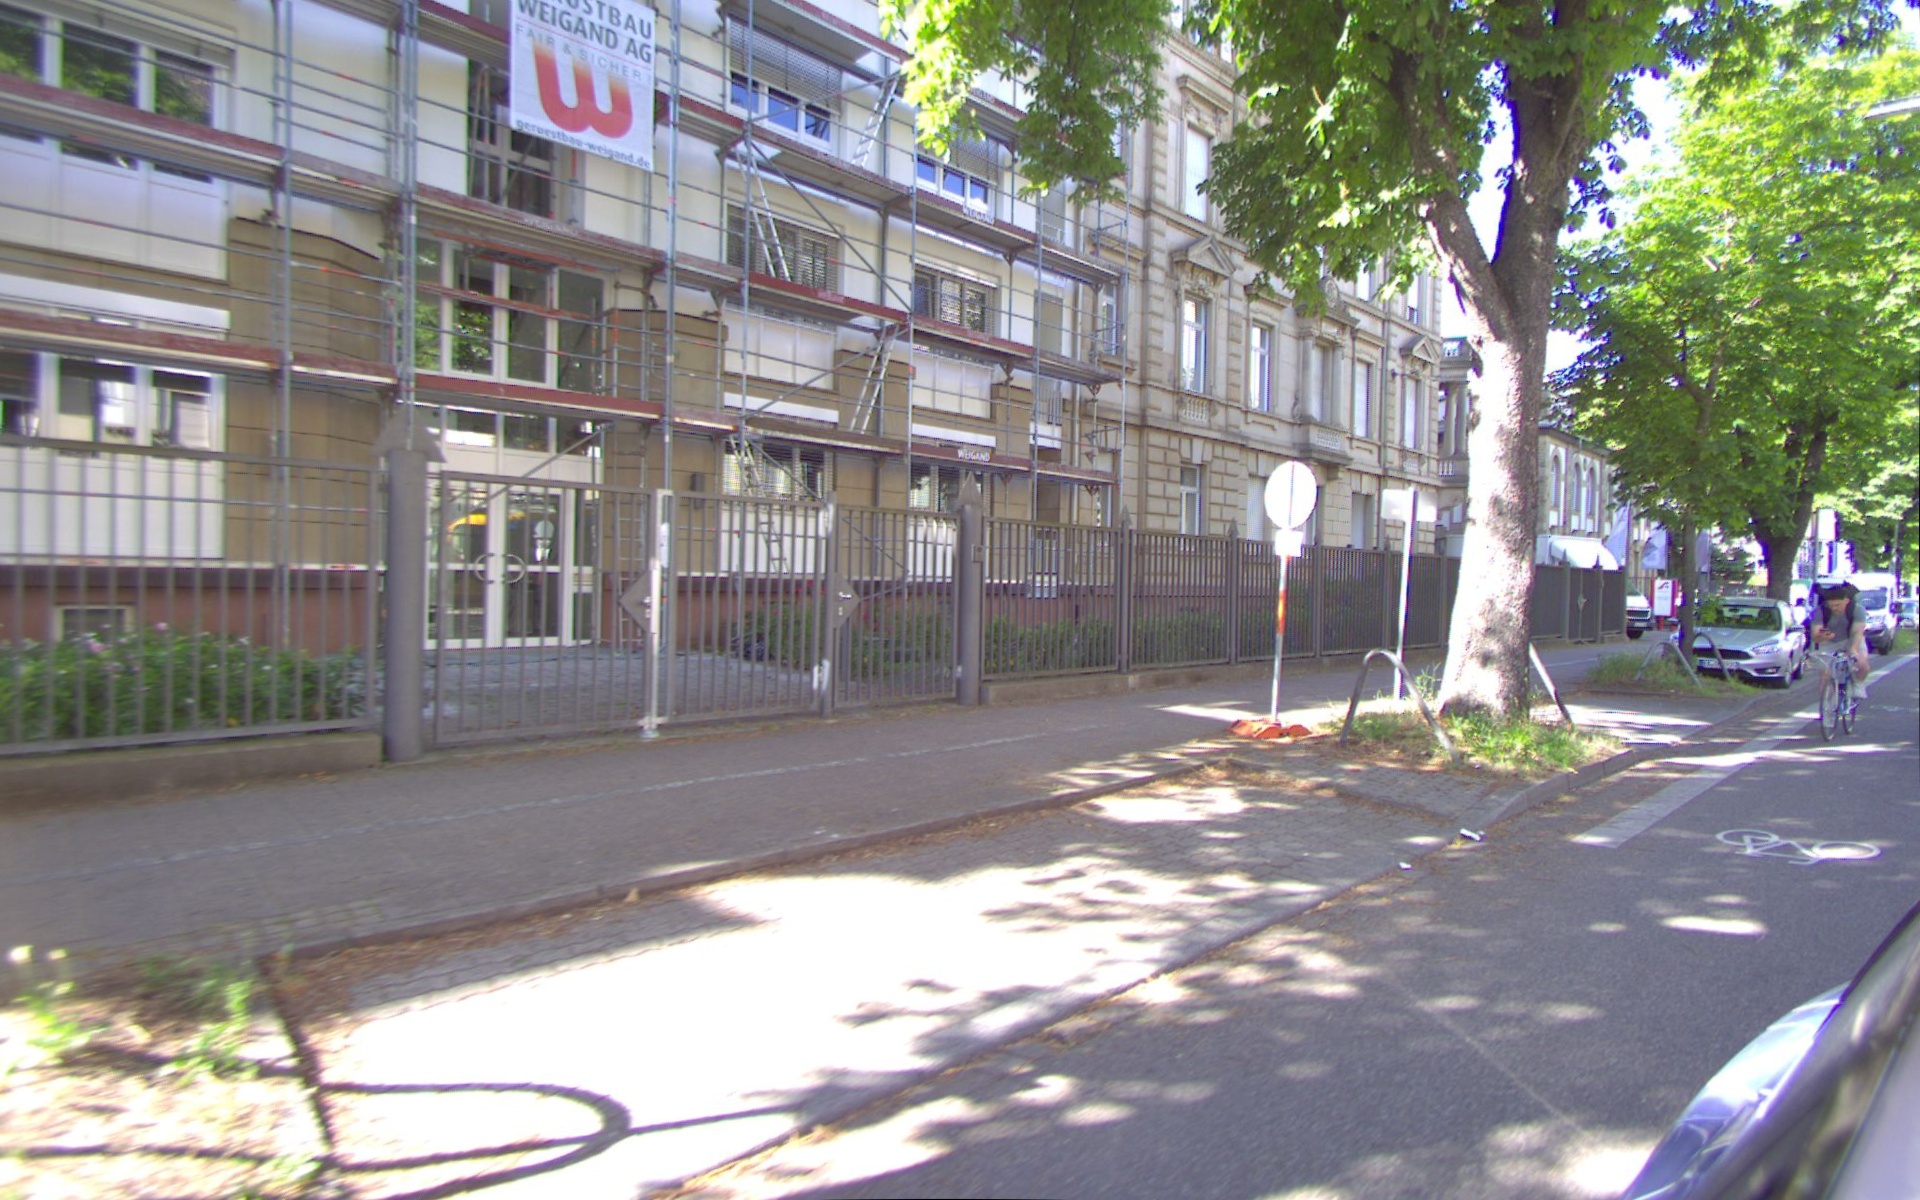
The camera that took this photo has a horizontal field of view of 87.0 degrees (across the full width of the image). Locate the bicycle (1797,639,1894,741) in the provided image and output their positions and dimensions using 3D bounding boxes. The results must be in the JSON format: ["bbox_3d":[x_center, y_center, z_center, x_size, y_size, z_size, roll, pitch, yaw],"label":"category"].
[{"bbox_3d":[9.764,0.944,11.137,2.021,0.933,0.534,-1,1,-41],"label":"bicycle"}]

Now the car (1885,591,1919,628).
[{"bbox_3d":[43.903,0.425,46.489,4.036,1.569,1.863,-1,2,-45],"label":"car"}]

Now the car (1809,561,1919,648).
[{"bbox_3d":[27.642,0.057,30.837,5.711,2.371,2.128,-1,4,-45],"label":"car"}]

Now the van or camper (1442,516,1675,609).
[{"bbox_3d":[18.899,-1.132,32.513,2.078,2.660,6.752,0,1,-18],"label":"van or camper"}]

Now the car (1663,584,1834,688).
[{"bbox_3d":[14.377,0.537,18.364,4.295,1.562,1.874,-1,4,-45],"label":"car"}]

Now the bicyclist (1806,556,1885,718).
[{"bbox_3d":[9.695,0.379,11.074,0.863,1.691,0.532,-1,1,-41],"label":"bicyclist"}]
